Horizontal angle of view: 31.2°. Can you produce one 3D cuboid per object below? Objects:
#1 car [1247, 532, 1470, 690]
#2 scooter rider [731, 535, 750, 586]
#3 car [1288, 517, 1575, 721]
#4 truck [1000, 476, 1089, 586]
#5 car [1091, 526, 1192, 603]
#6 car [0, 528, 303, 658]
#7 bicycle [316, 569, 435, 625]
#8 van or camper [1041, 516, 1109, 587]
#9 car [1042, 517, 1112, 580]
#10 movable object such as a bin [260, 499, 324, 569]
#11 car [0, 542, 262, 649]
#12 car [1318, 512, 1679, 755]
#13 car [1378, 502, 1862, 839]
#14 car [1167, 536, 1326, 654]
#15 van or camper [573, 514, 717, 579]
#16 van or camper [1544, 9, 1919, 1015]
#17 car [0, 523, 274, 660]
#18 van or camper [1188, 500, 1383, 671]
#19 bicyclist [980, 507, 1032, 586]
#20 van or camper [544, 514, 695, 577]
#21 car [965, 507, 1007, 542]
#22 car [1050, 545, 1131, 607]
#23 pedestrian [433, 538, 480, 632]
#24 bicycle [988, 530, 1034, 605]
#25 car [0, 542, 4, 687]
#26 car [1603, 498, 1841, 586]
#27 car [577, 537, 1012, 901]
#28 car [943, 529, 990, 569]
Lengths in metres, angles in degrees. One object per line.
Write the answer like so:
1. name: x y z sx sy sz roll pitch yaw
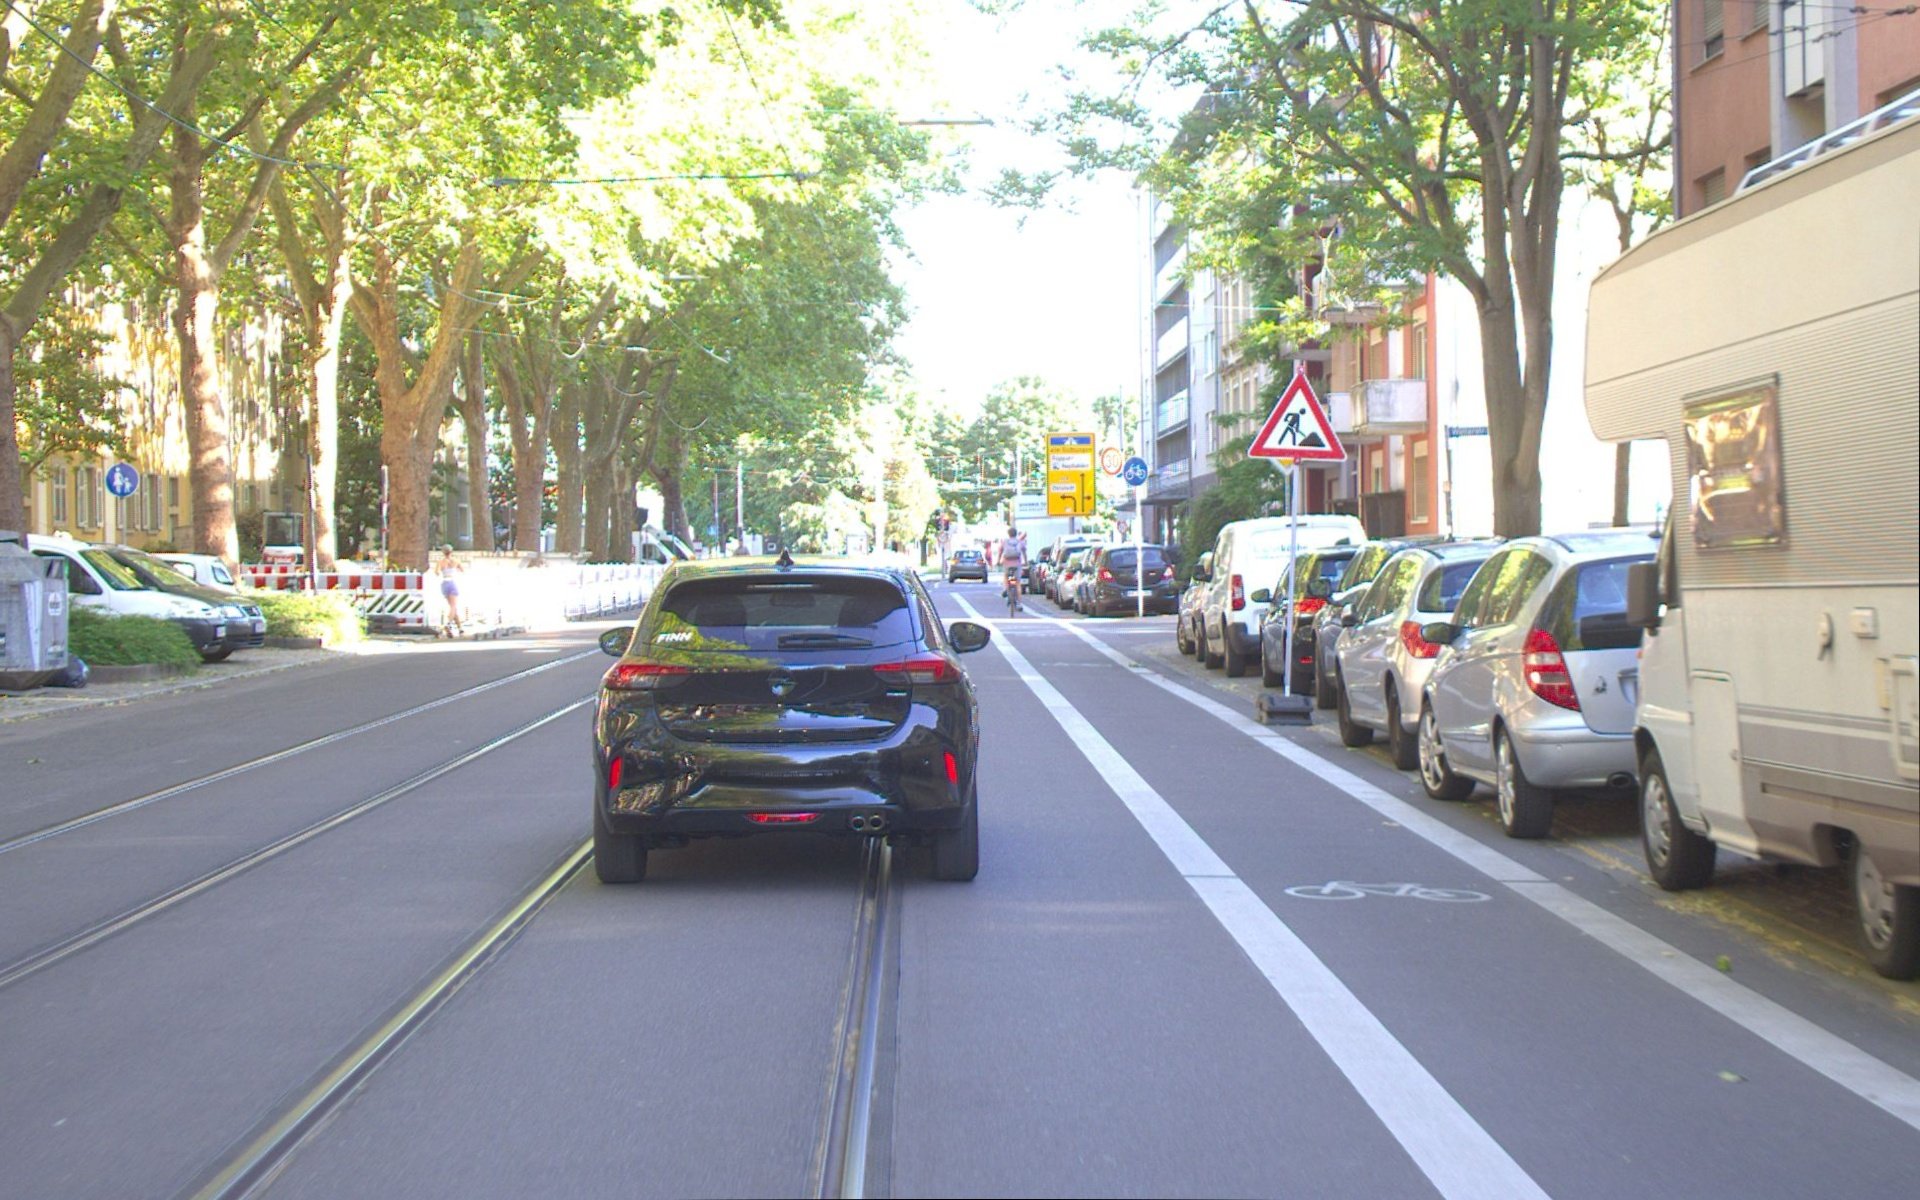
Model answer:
1. car: 3.980 0.064 34.895 1.705 1.468 4.168 -1 1 -1
2. scooter rider: -8.440 -1.503 132.237 0.649 1.950 0.624 0 0 0
3. car: 4.002 0.111 29.815 1.767 1.567 4.337 -3 1 -1
4. truck: 2.695 -2.211 111.938 2.538 3.326 7.195 -3 1 0
5. car: 3.689 -0.739 70.254 1.733 1.457 3.916 -3 1 -1
6. car: -11.378 -0.109 47.168 4.235 1.682 1.933 -1 1 7
7. bicycle: -10.371 -0.048 61.000 1.972 0.959 0.726 -1 1 1
8. van or camper: 3.132 -1.344 94.581 1.669 1.876 4.211 -2 1 0
9. car: 3.047 -1.355 89.834 1.660 1.575 3.589 -2 1 0
10. movable object such as a bin: -18.012 -1.773 92.739 1.333 1.862 2.008 0 0 0
11. car: -12.547 -0.081 51.350 3.847 1.492 1.862 -1 1 0
12. car: 3.749 0.178 24.666 1.788 1.517 4.322 -3 1 -1
13. car: 3.591 0.314 19.485 1.793 1.622 4.277 -3 1 -1
14. car: 3.768 -0.099 45.794 1.705 1.468 4.000 -1 1 -1
15. van or camper: -13.021 -2.211 142.348 5.723 2.635 2.269 0 0 0
16. van or camper: 4.072 -0.331 12.663 2.462 3.053 6.269 -3 1 -2
17. car: -11.250 -0.130 44.924 4.198 1.751 1.740 0 1 1
18. van or camper: 3.768 -0.211 40.529 1.755 1.858 4.831 -1 1 -1
19. bicyclist: 0.967 -1.138 72.863 1.089 1.641 1.400 0 1 0
20. van or camper: -13.152 -2.118 132.921 5.502 2.371 2.269 0 0 3
21. car: 1.306 -3.849 176.009 1.993 1.690 4.740 -3 1 -1
22. car: 3.180 -0.617 84.538 1.659 1.394 4.740 -3 1 -1
23. pedestrian: -8.943 -0.272 61.059 0.716 1.663 0.779 0 0 0
24. bicycle: 1.064 -0.704 72.851 0.916 1.555 3.405 0 1 0
25. car: -11.816 0.202 34.581 3.847 1.492 1.862 -1 1 0
26. car: 13.686 -1.051 61.865 3.913 1.477 1.562 0 4 -1
27. car: -0.710 0.453 16.107 1.781 1.491 4.000 0 1 -1
28. car: 0.281 -2.338 156.775 1.993 1.690 4.740 -3 1 -1
